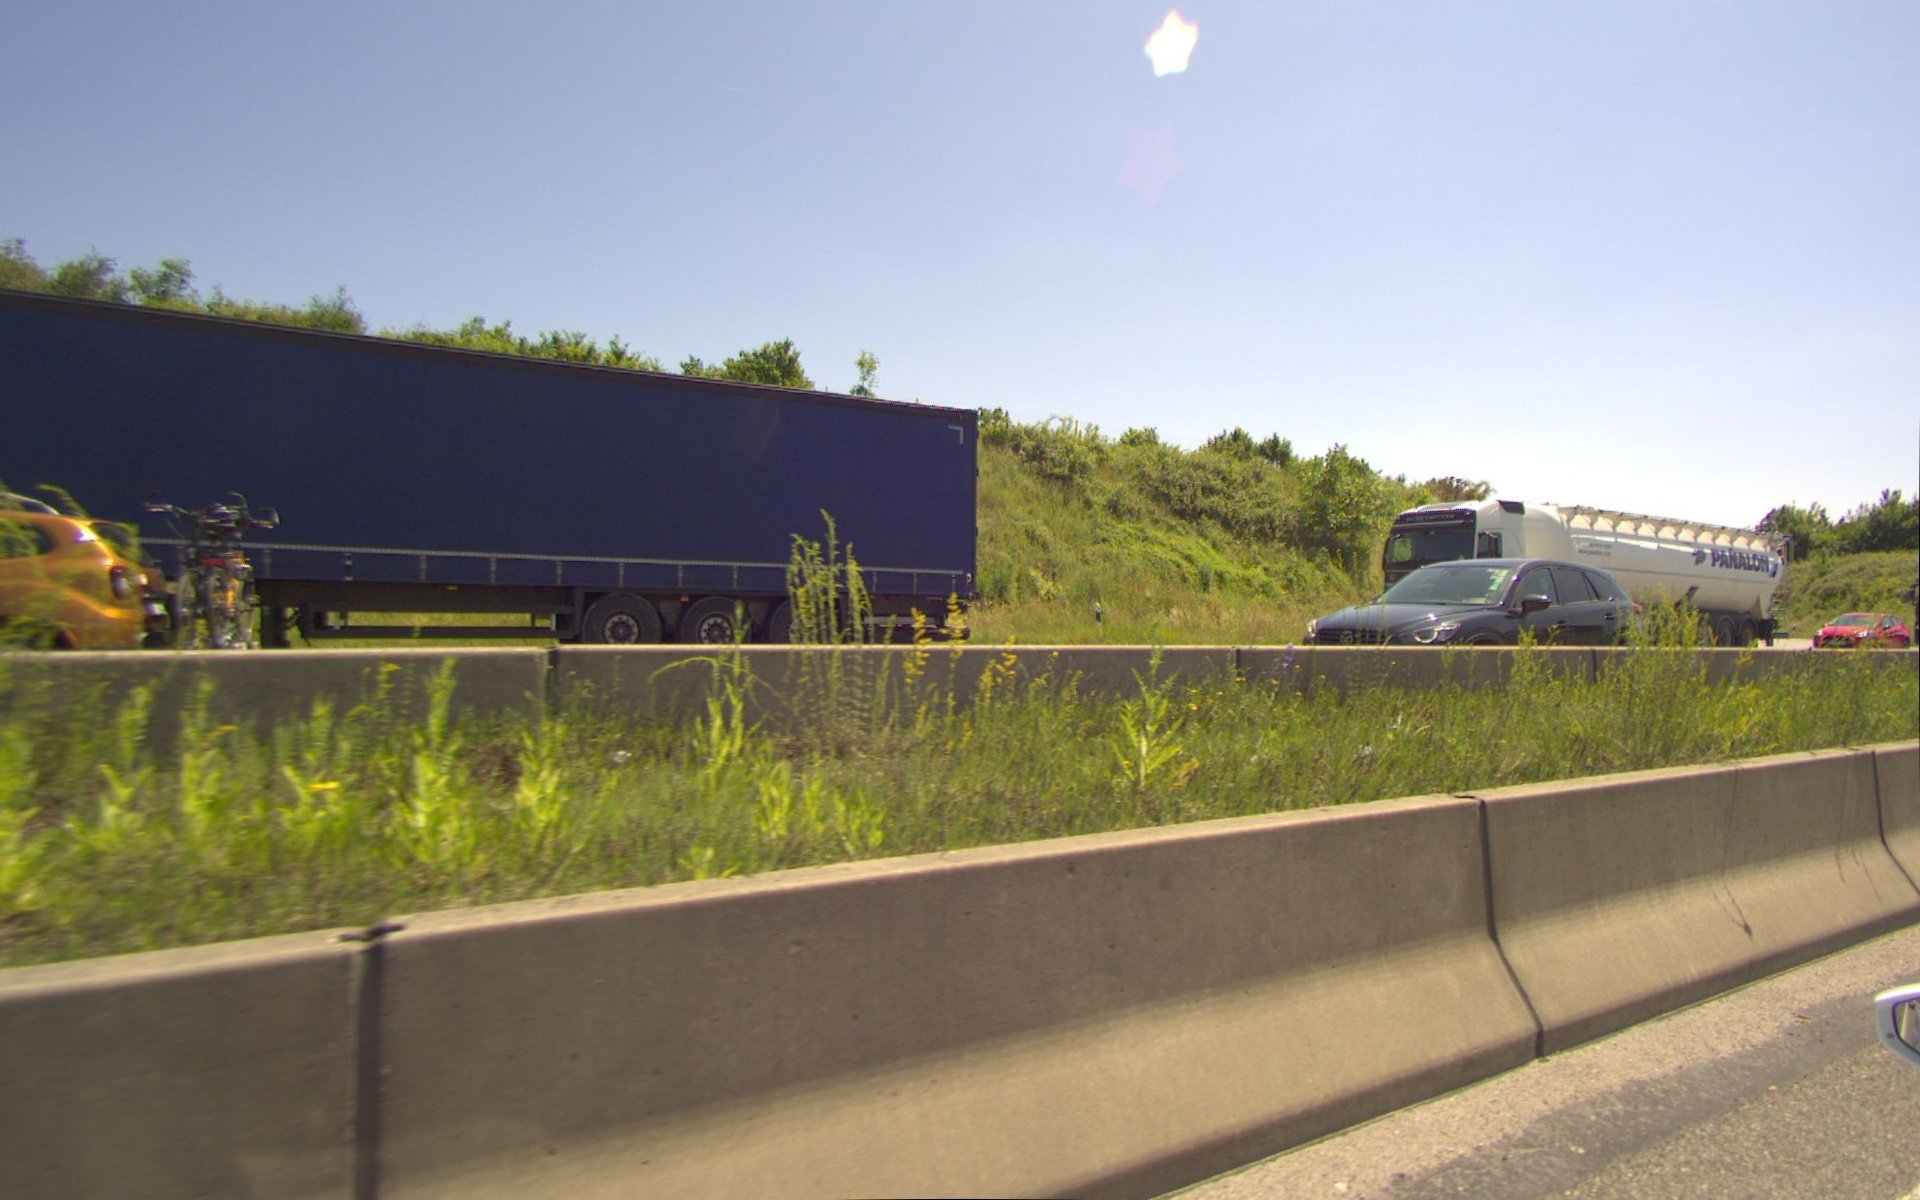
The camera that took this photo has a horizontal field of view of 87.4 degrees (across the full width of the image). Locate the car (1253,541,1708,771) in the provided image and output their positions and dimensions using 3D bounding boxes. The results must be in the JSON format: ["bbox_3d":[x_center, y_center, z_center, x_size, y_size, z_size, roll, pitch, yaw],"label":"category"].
[{"bbox_3d":[5.933,0.522,11.323,4.998,2.091,2.076,2,3,-30],"label":"car"}]

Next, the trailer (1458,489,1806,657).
[{"bbox_3d":[19.377,-0.572,28.409,13.092,4.003,2.665,1,3,-31],"label":"trailer"}]

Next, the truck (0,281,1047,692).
[{"bbox_3d":[-5.865,-1.109,14.468,14.828,4.148,3.561,1,1,-30],"label":"truck"}]

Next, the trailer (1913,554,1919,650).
[{"bbox_3d":[46.963,0.161,44.662,11.400,4.148,3.561,1,1,-30],"label":"trailer"}]

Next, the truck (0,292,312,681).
[{"bbox_3d":[-12.007,-1.144,10.925,8.049,3.961,3.493,1,-2,-30],"label":"truck"}]

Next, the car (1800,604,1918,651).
[{"bbox_3d":[31.853,0.985,35.563,4.530,1.559,1.788,2,-1,-30],"label":"car"}]

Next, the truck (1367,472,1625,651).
[{"bbox_3d":[13.269,-0.785,24.766,6.242,3.930,2.680,1,0,-30],"label":"truck"}]

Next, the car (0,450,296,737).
[{"bbox_3d":[-8.205,-0.122,7.775,5.003,2.091,2.074,1,3,-32],"label":"car"}]

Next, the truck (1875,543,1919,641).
[{"bbox_3d":[40.906,-0.217,41.100,5.379,3.929,3.440,2,2,-29],"label":"truck"}]
